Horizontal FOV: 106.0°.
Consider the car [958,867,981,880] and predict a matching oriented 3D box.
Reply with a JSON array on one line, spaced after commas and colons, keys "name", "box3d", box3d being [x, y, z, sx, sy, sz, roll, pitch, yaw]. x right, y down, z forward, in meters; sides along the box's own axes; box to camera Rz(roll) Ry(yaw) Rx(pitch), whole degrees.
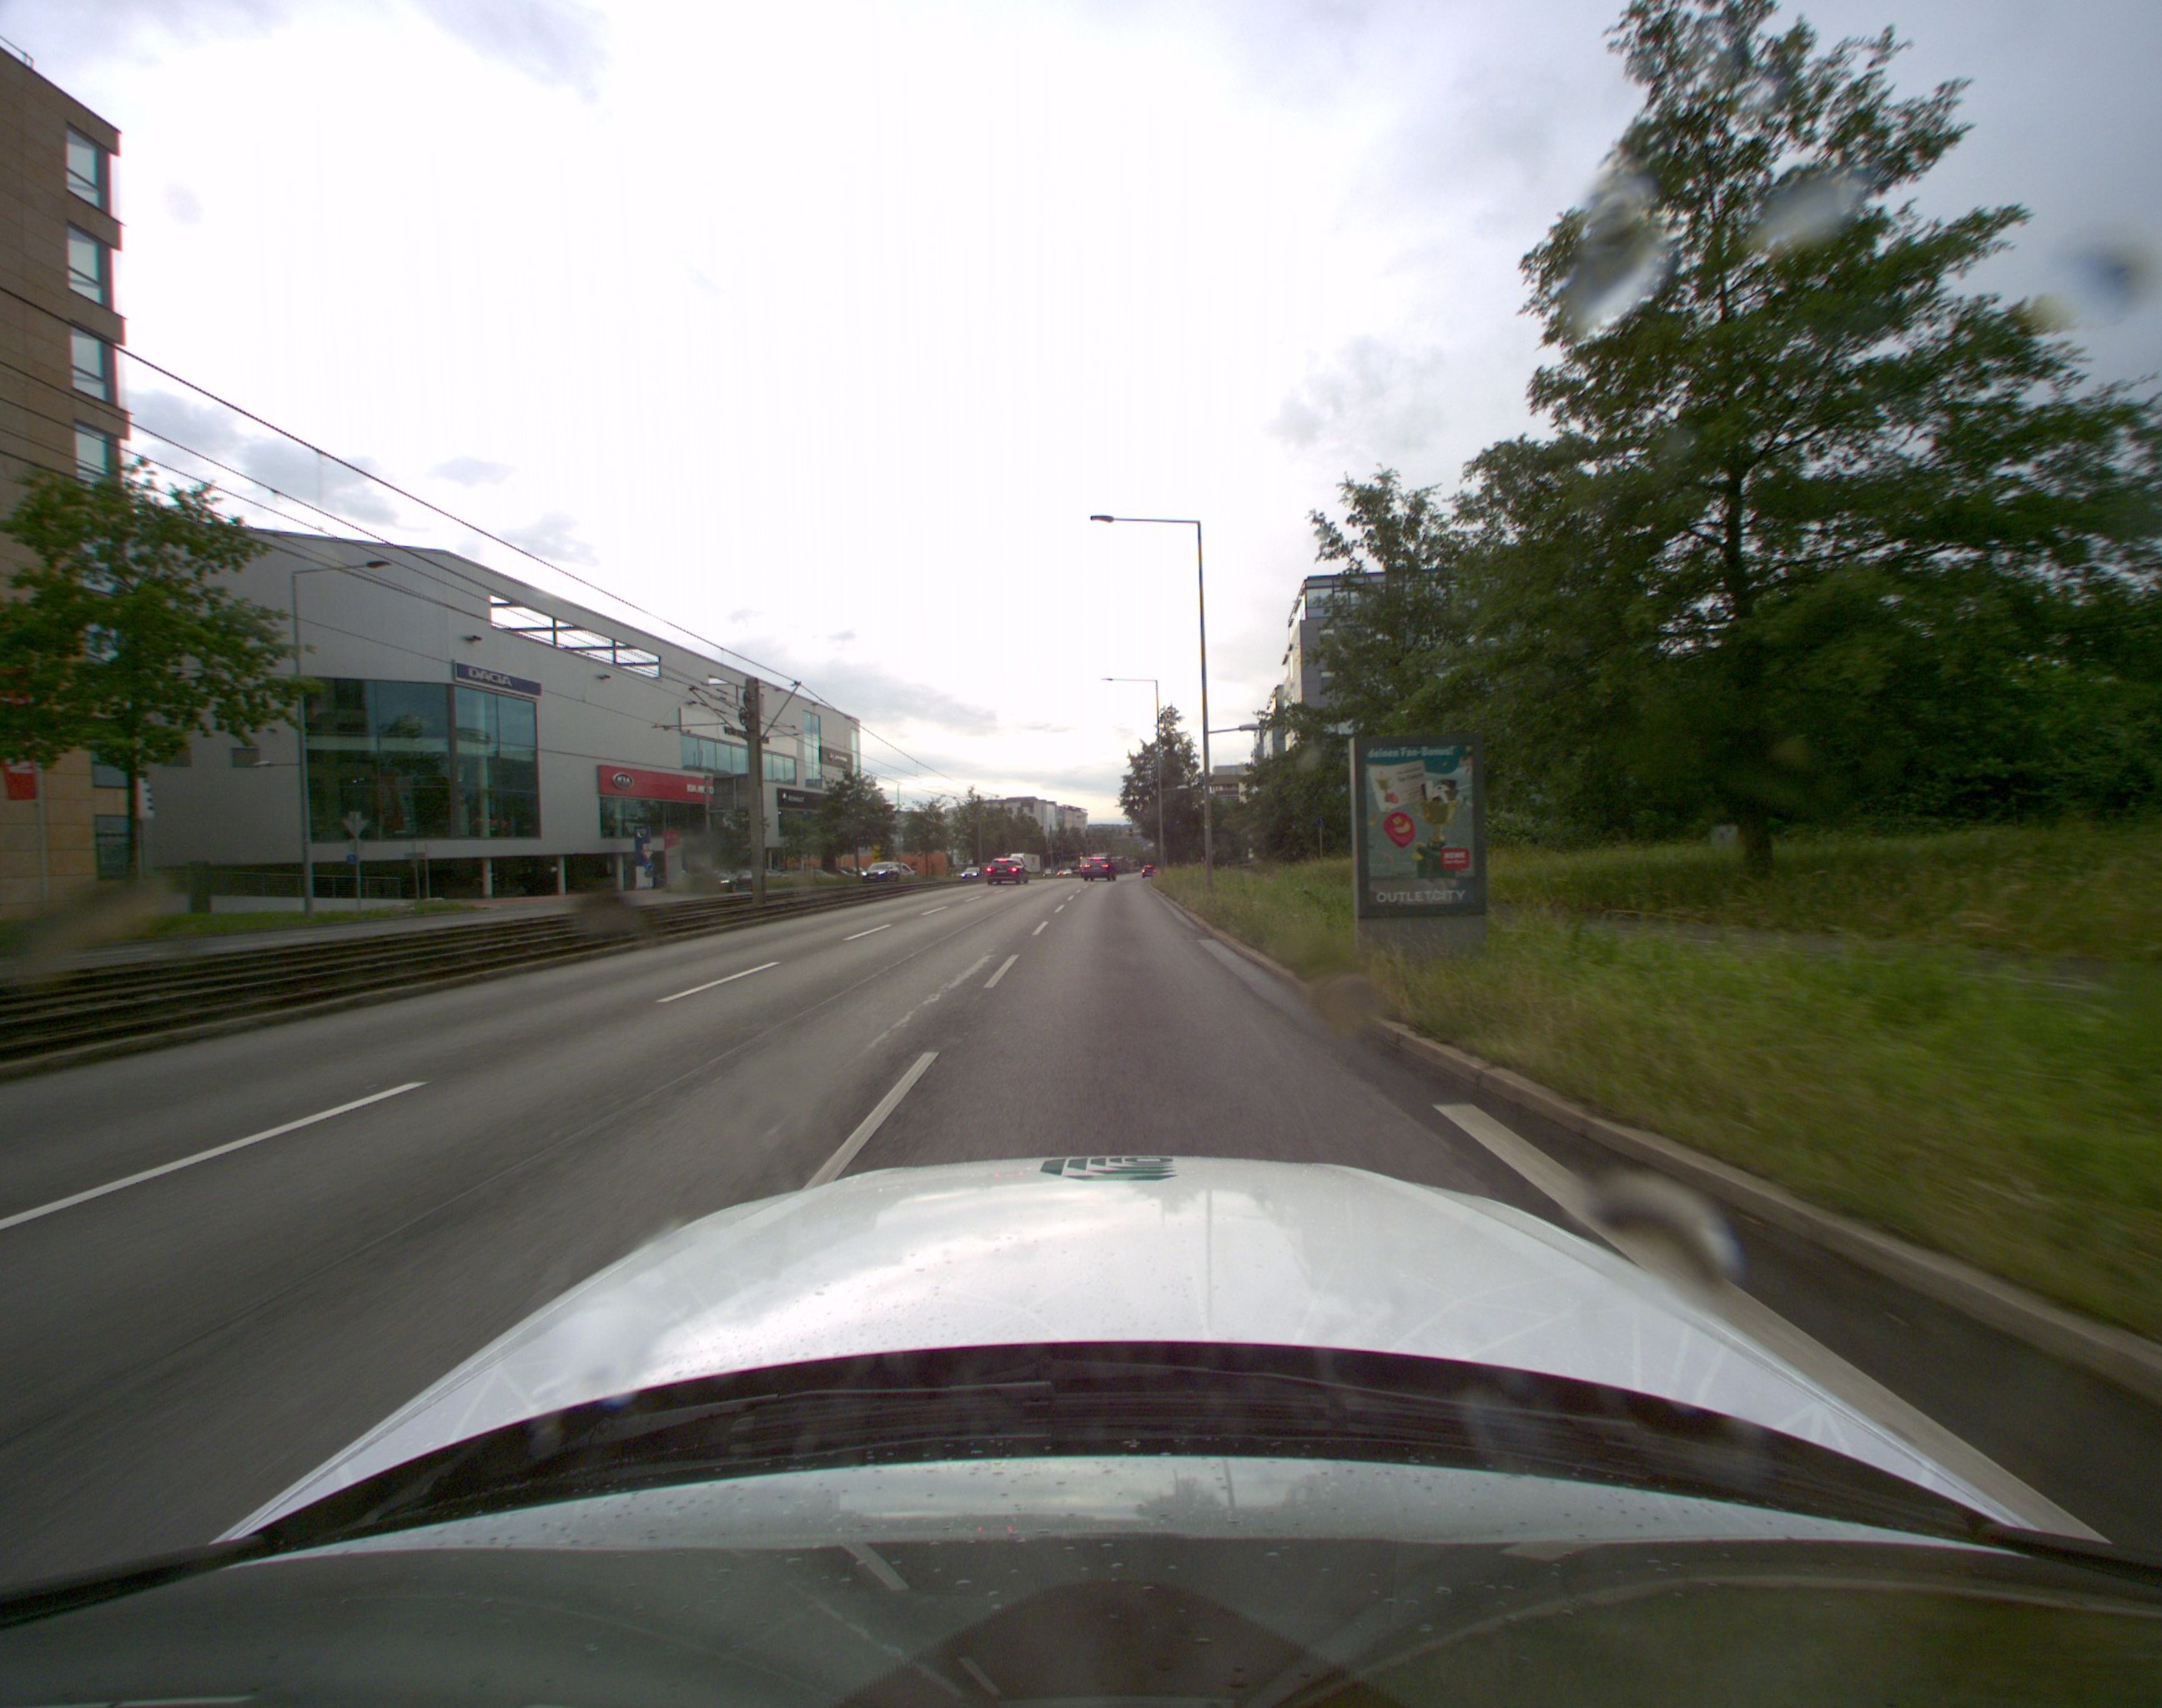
[{"name": "car", "box3d": [-12.317, 2.169, 90.237, 1.660, 1.462, 4.243, 0, -2, 5]}]

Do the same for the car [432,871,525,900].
[{"name": "car", "box3d": [-37.962, 1.947, 51.512, 1.985, 1.725, 4.943, 0, -1, 2]}]

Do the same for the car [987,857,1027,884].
[{"name": "car", "box3d": [-4.035, 0.867, 44.951, 1.780, 1.414, 4.805, 0, 0, 0]}]

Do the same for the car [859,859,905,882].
[{"name": "car", "box3d": [-14.317, 1.211, 58.779, 1.796, 1.616, 4.392, 0, -2, 6]}]

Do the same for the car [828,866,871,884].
[{"name": "car", "box3d": [-28.021, 2.534, 98.566, 4.587, 1.976, 2.019, -1, -2, -1]}]

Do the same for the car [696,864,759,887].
[{"name": "car", "box3d": [-29.805, 1.790, 68.840, 4.630, 1.827, 2.010, -1, -2, -15]}]

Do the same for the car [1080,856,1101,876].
[{"name": "car", "box3d": [1.110, 1.317, 91.825, 2.259, 2.285, 4.761, 0, 0, 1]}]

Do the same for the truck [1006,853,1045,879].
[{"name": "truck", "box3d": [-9.233, 2.022, 137.995, 3.025, 4.181, 17.238, 0, 0, 8]}]

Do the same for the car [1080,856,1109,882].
[{"name": "car", "box3d": [0.942, 1.006, 57.079, 1.916, 1.710, 4.098, 0, 0, 1]}]

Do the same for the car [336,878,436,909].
[{"name": "car", "box3d": [-43.471, 2.436, 51.128, 1.987, 1.792, 4.940, 0, -1, 1]}]

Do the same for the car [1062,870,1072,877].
[{"name": "car", "box3d": [-3.164, 4.320, 181.807, 1.653, 1.442, 3.904, 0, -2, 7]}]

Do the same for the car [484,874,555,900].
[{"name": "car", "box3d": [-43.497, 2.536, 63.253, 1.987, 1.910, 4.940, 0, -1, 0]}]

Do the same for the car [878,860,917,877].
[{"name": "car", "box3d": [-26.526, 2.115, 117.837, 5.291, 2.313, 2.017, 0, -2, -3]}]

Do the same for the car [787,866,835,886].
[{"name": "car", "box3d": [-29.027, 2.345, 87.782, 4.599, 1.976, 2.014, -1, -2, -9]}]

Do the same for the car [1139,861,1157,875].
[{"name": "car", "box3d": [8.016, 1.661, 97.718, 1.784, 1.591, 3.997, -2, -1, -2]}]

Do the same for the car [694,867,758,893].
[{"name": "car", "box3d": [-20.841, 1.516, 48.041, 1.660, 1.462, 4.242, 0, -2, 4]}]
